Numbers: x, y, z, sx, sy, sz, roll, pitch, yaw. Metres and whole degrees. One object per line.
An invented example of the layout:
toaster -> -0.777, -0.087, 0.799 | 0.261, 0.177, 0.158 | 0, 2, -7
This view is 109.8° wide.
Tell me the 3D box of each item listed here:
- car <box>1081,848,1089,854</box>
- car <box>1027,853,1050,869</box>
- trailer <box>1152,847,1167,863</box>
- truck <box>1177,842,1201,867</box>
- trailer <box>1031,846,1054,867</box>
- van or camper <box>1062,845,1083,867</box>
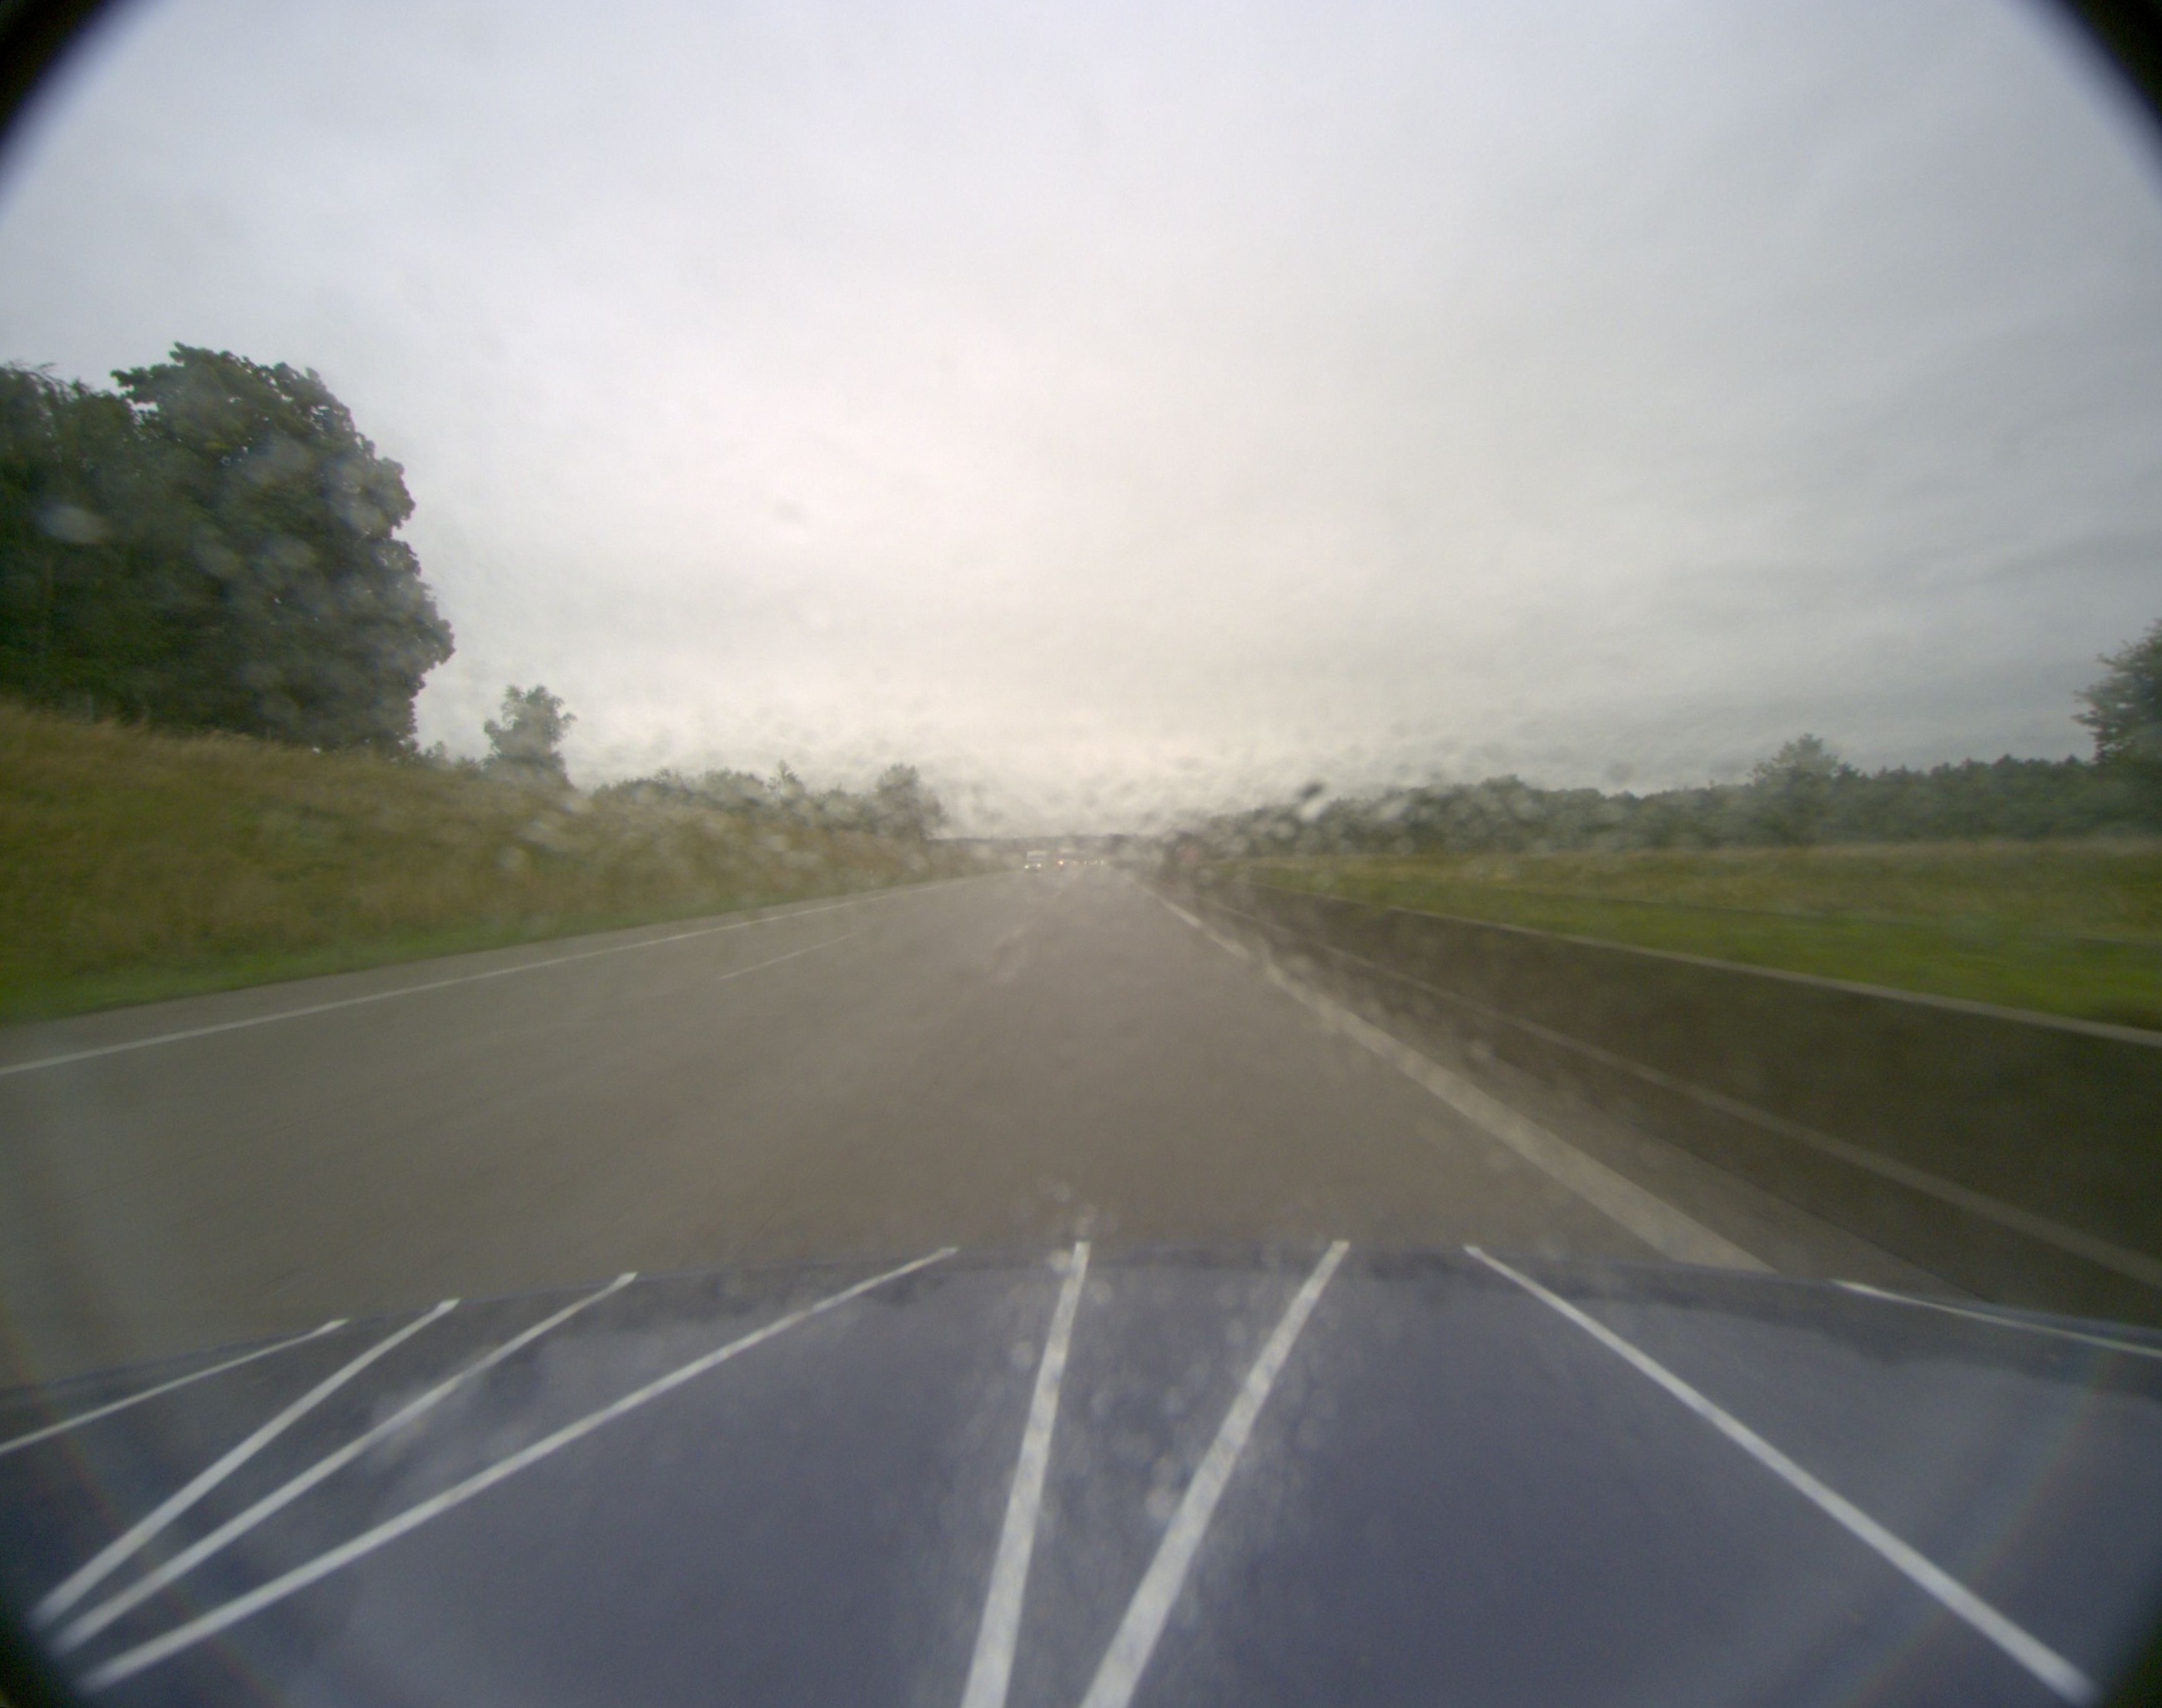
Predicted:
car -> 1.071, -0.743, 207.806 | 1.998, 1.575, 5.011 | -1, 0, 2
car -> -4.783, 0.746, 85.908 | 1.998, 1.576, 5.953 | -2, 0, 2
trailer -> 22.421, 0.299, 218.079 | 3.235, 4.315, 13.555 | -3, 0, 2
truck -> 19.514, -0.080, 138.130 | 2.761, 4.183, 13.100 | 0, 2, 1
trailer -> -4.617, 0.269, 91.901 | 2.348, 2.445, 5.939 | 0, 1, 2
van or camper -> -0.928, 0.236, 89.752 | 2.233, 2.537, 7.950 | 0, 0, 2
